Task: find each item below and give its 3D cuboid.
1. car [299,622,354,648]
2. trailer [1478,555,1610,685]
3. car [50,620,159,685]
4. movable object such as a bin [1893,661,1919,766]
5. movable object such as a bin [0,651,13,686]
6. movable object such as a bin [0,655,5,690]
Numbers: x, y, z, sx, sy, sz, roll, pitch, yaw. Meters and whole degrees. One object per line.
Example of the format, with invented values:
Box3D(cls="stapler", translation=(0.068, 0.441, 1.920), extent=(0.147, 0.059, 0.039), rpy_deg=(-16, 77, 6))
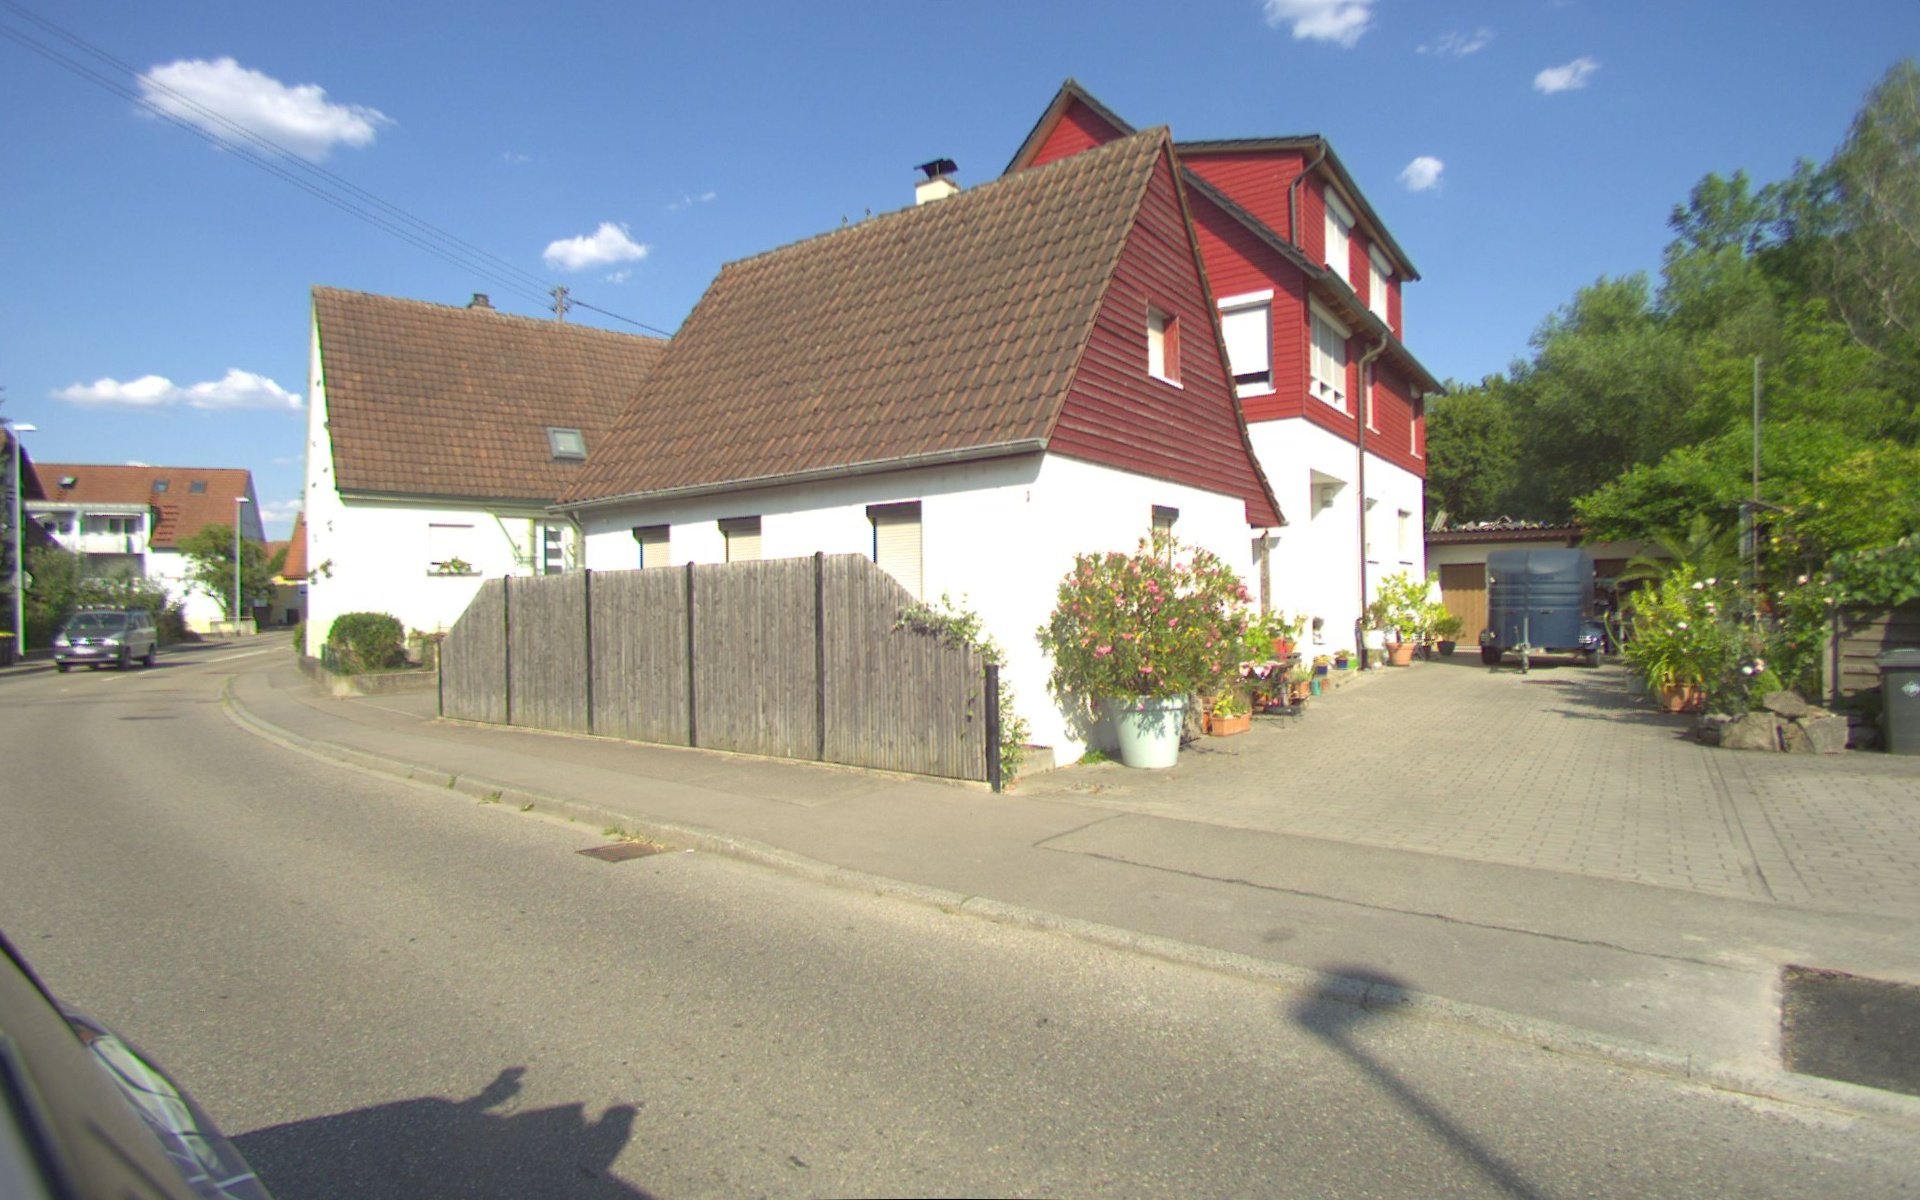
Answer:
Box3D(cls="car", translation=(-43.503, 2.396, 69.620), extent=(1.942, 1.669, 4.009), rpy_deg=(1, -2, -12))
Box3D(cls="trailer", translation=(11.068, 0.351, 19.132), extent=(1.924, 2.183, 3.957), rpy_deg=(-1, -1, 32))
Box3D(cls="car", translation=(-29.052, 1.743, 34.522), extent=(1.790, 2.015, 4.836), rpy_deg=(-1, -1, -27))
Box3D(cls="movable object such as a bin", translation=(8.568, 0.993, 8.942), extent=(0.370, 0.889, 0.459), rpy_deg=(-4, -2, 35))
Box3D(cls="movable object such as a bin", translation=(-31.302, 2.250, 33.174), extent=(0.289, 1.117, 0.387), rpy_deg=(-1, -2, -27))
Box3D(cls="movable object such as a bin", translation=(-31.056, 2.336, 32.574), extent=(0.330, 1.117, 0.440), rpy_deg=(-1, -2, -27))
